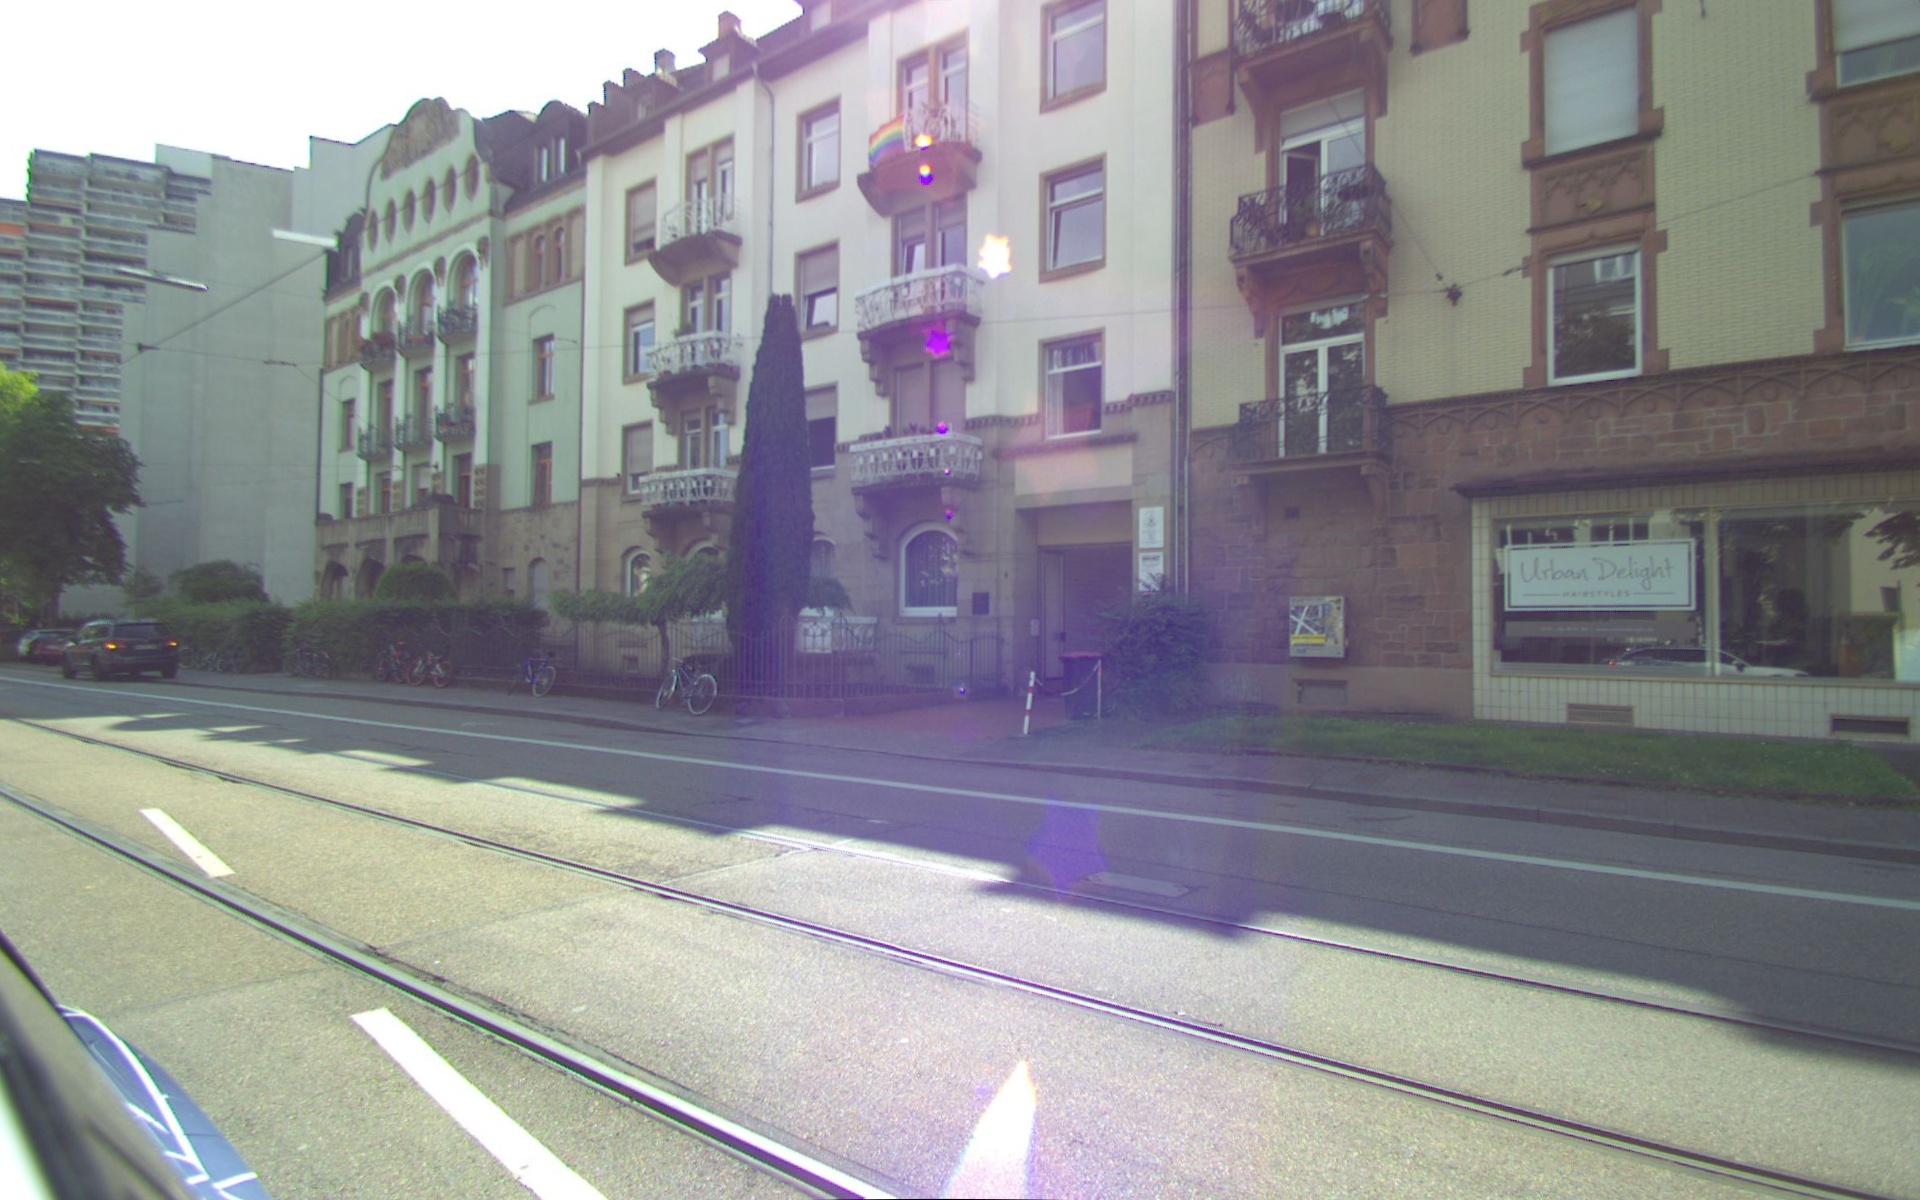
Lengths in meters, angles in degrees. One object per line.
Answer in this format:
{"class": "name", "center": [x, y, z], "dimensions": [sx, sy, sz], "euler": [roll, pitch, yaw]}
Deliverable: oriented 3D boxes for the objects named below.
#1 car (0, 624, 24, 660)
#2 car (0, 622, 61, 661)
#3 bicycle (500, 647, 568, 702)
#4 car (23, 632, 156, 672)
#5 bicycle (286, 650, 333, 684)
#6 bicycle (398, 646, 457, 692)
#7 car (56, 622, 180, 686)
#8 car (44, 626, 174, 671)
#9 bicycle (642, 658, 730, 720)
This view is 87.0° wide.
{"class": "car", "center": [-51.268, 2.188, 52.548], "dimensions": [1.733, 1.857, 3.619], "euler": [-1, -3, 37]}
{"class": "car", "center": [-48.224, 2.079, 51.127], "dimensions": [1.829, 1.940, 3.947], "euler": [-1, -3, 39]}
{"class": "bicycle", "center": [-8.869, 1.526, 21.045], "dimensions": [1.872, 1.037, 0.532], "euler": [0, -2, 42]}
{"class": "car", "center": [-35.374, 2.078, 41.203], "dimensions": [1.633, 1.548, 3.841], "euler": [-1, -3, 39]}
{"class": "bicycle", "center": [-17.521, 1.789, 27.231], "dimensions": [1.872, 0.803, 0.579], "euler": [0, 0, 42]}
{"class": "bicycle", "center": [-12.485, 1.595, 23.711], "dimensions": [1.872, 0.993, 0.579], "euler": [0, -2, 42]}
{"class": "car", "center": [-24.473, 1.530, 29.383], "dimensions": [4.324, 1.724, 1.775], "euler": [-1, -3, 37]}
{"class": "car", "center": [-33.081, 1.859, 39.394], "dimensions": [1.608, 1.652, 3.587], "euler": [-1, -2, 37]}
{"class": "bicycle", "center": [-4.842, 1.535, 17.789], "dimensions": [2.068, 0.913, 0.517], "euler": [1, -1, 45]}
